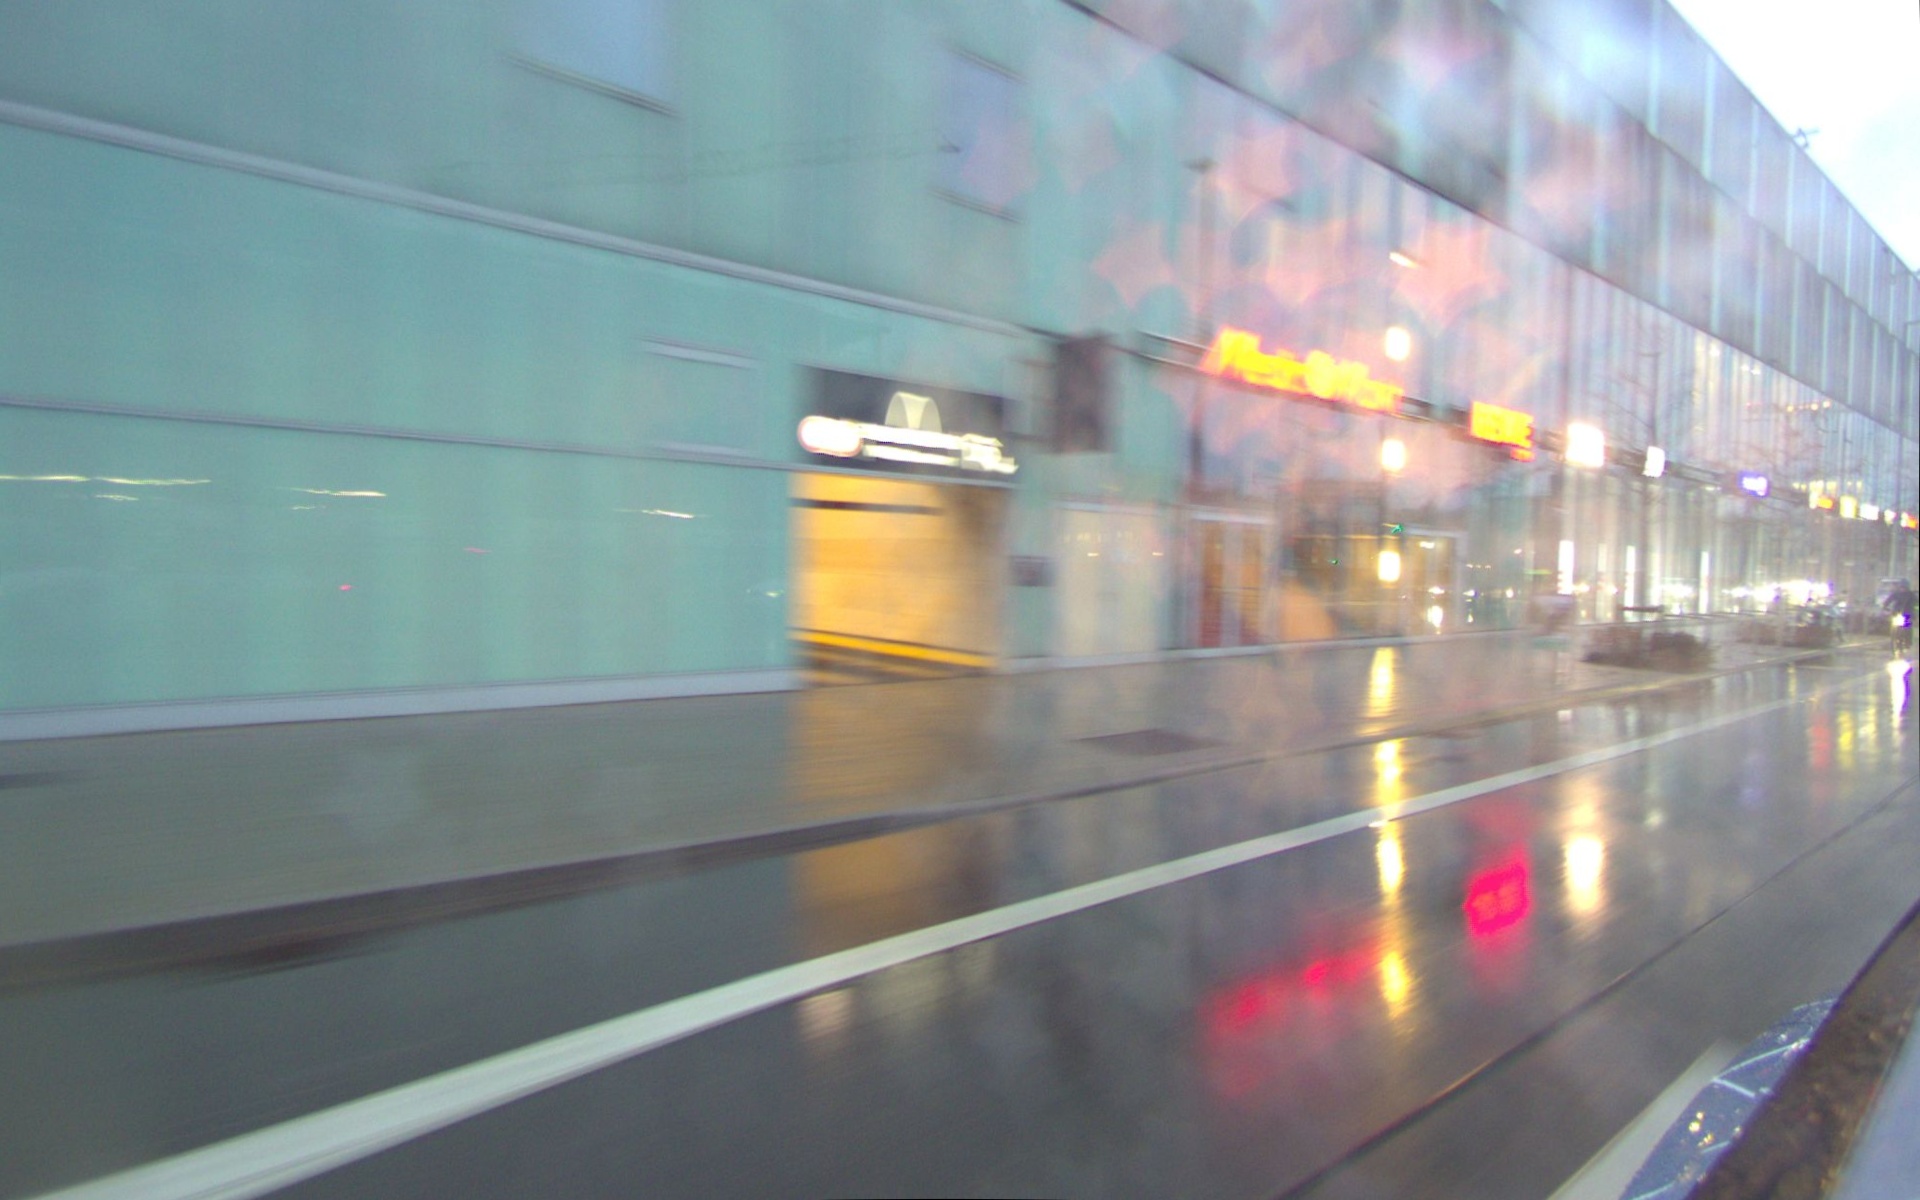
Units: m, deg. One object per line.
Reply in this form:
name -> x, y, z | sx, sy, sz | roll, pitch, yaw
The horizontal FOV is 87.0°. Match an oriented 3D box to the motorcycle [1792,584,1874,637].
motorcycle -> 23.869, 0.271, 27.719 | 0.584, 1.350, 1.910 | 0, 2, 1

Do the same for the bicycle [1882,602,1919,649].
bicycle -> 21.979, 0.564, 23.133 | 2.199, 1.012, 0.945 | -1, 1, -37

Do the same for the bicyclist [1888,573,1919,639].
bicyclist -> 21.925, 0.117, 23.080 | 1.047, 1.481, 0.945 | 0, 1, -37
